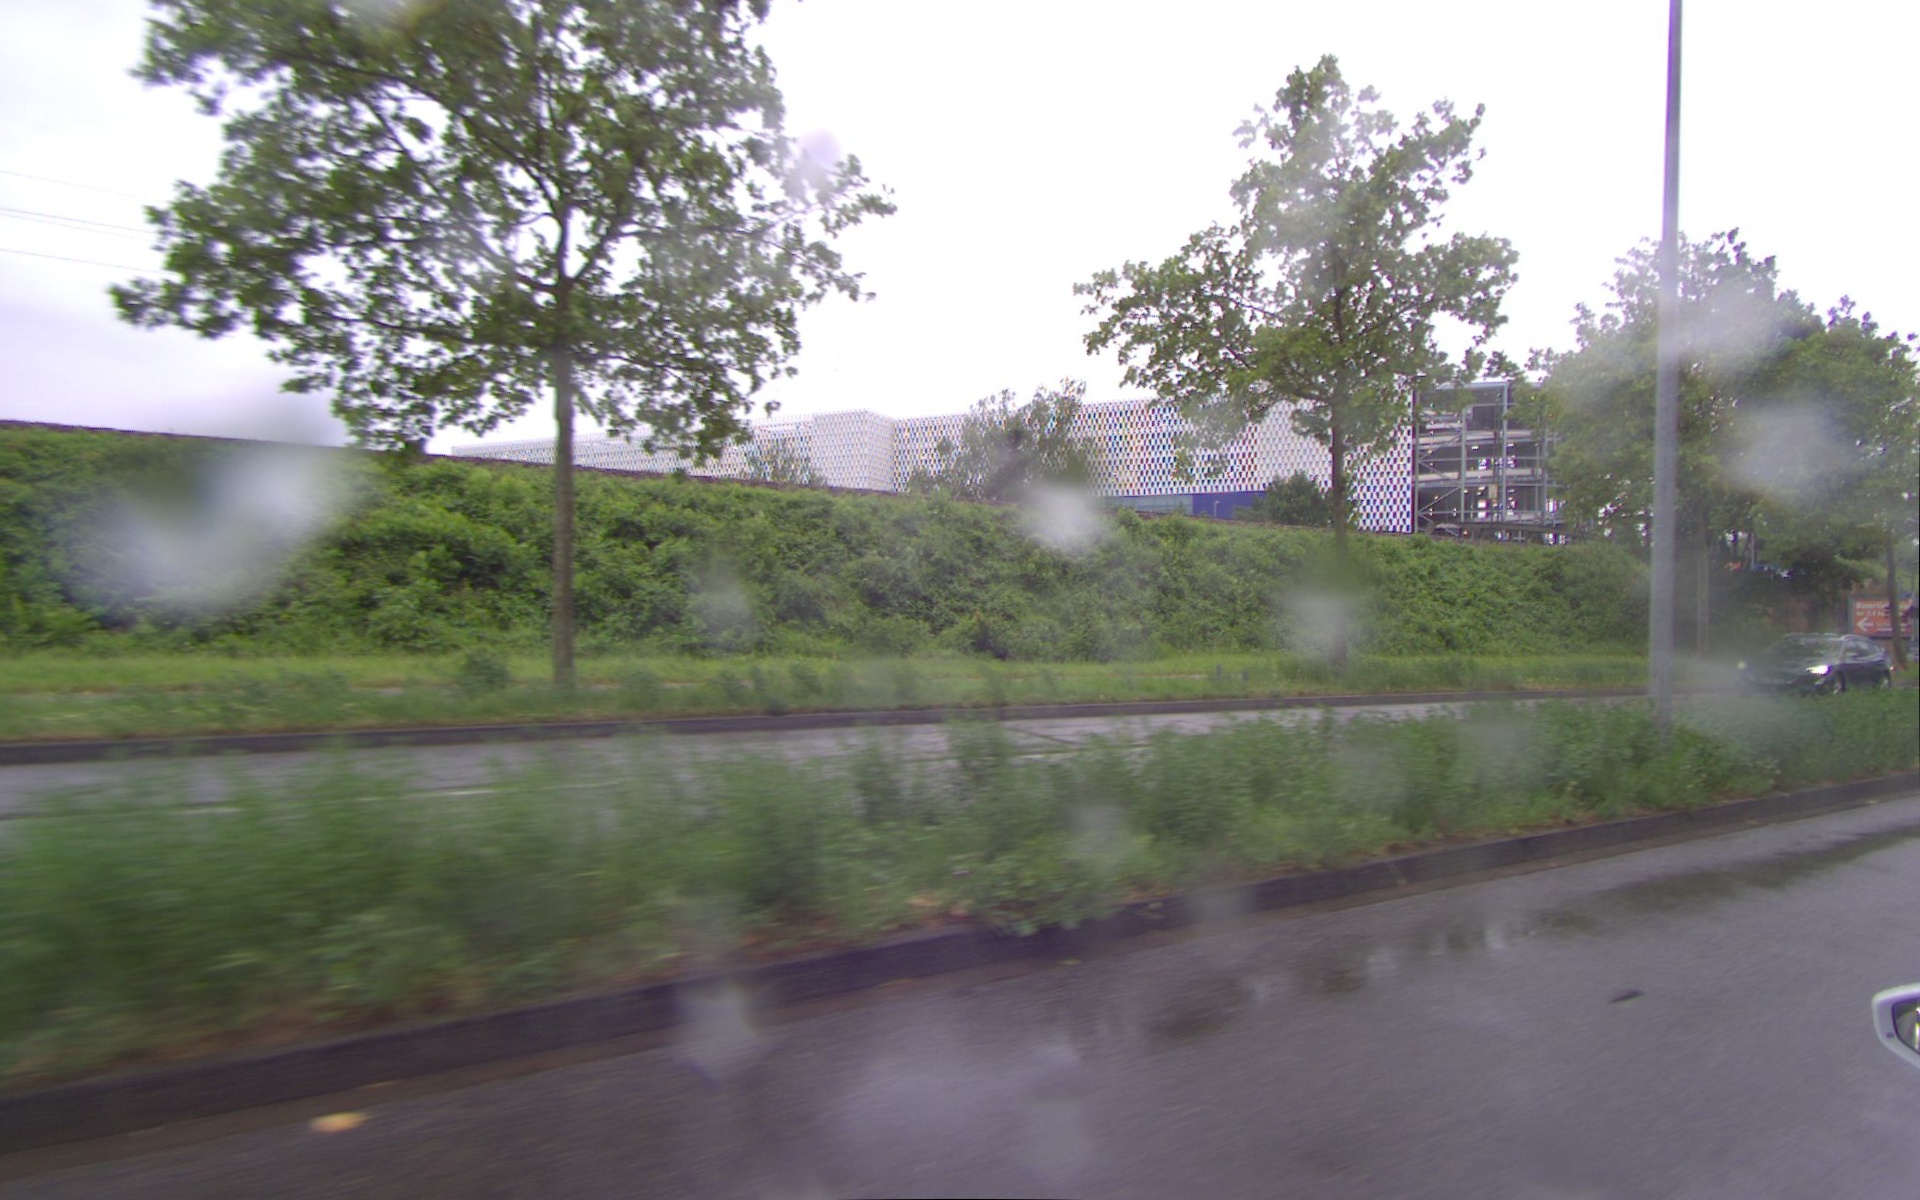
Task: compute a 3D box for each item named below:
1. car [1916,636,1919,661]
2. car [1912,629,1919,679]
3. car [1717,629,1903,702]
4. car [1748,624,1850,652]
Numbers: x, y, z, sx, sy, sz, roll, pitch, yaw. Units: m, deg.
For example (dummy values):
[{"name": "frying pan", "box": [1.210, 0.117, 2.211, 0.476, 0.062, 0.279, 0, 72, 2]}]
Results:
[{"name": "car", "box": [60.769, 3.016, 60.503, 4.310, 1.557, 1.798, 1, 0, 32]}, {"name": "car", "box": [30.628, 1.673, 30.233, 3.664, 1.464, 1.921, 2, 0, -31]}, {"name": "car", "box": [19.673, 1.467, 23.222, 4.444, 1.464, 1.921, 2, 0, -31]}, {"name": "car", "box": [51.171, 2.293, 61.358, 1.844, 1.610, 4.475, 2, -1, -34]}]
